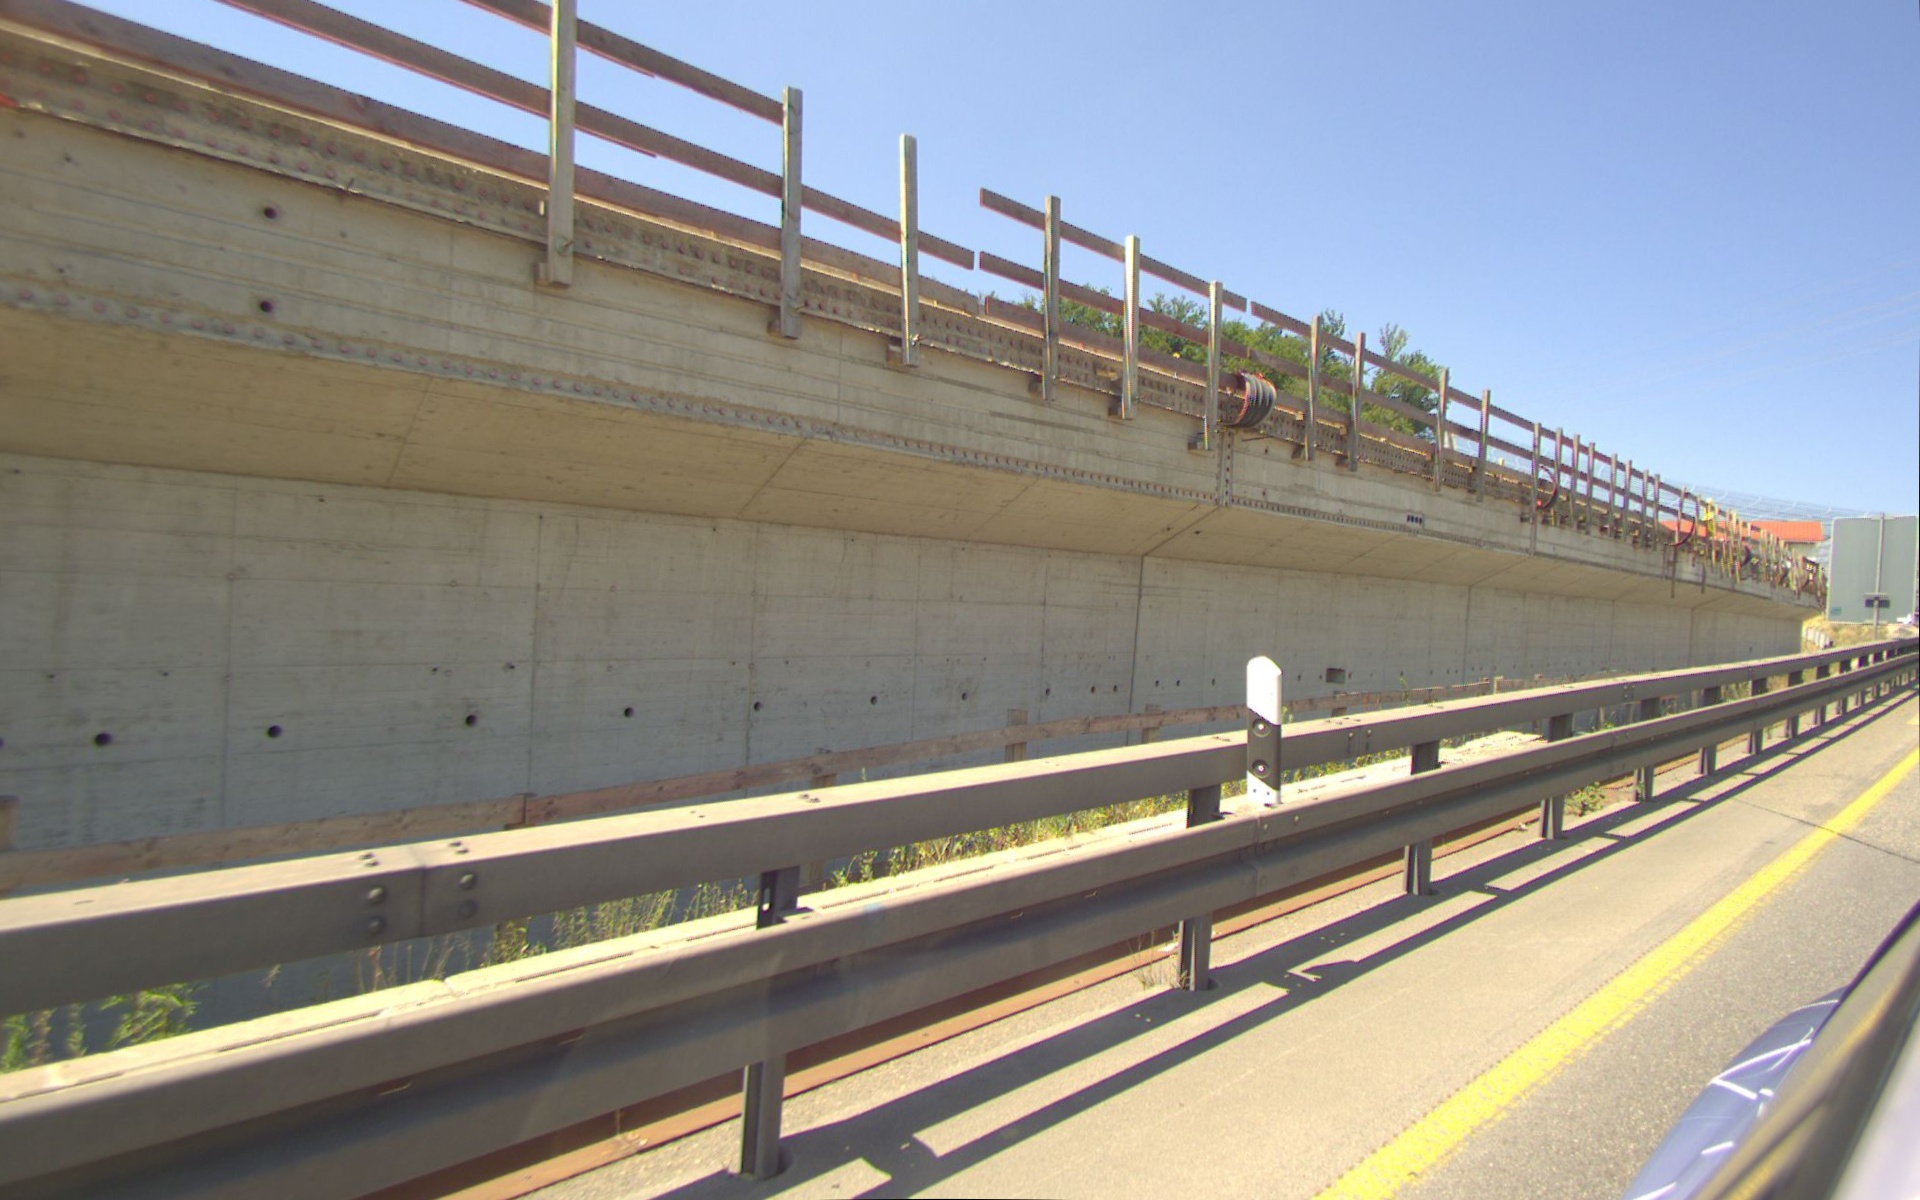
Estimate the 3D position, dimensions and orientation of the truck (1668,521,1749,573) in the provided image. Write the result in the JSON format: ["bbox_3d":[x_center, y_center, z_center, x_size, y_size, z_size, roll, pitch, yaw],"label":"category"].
[{"bbox_3d":[60.684,-4.219,82.055,5.591,3.741,2.725,3,-1,-24],"label":"truck"}]
